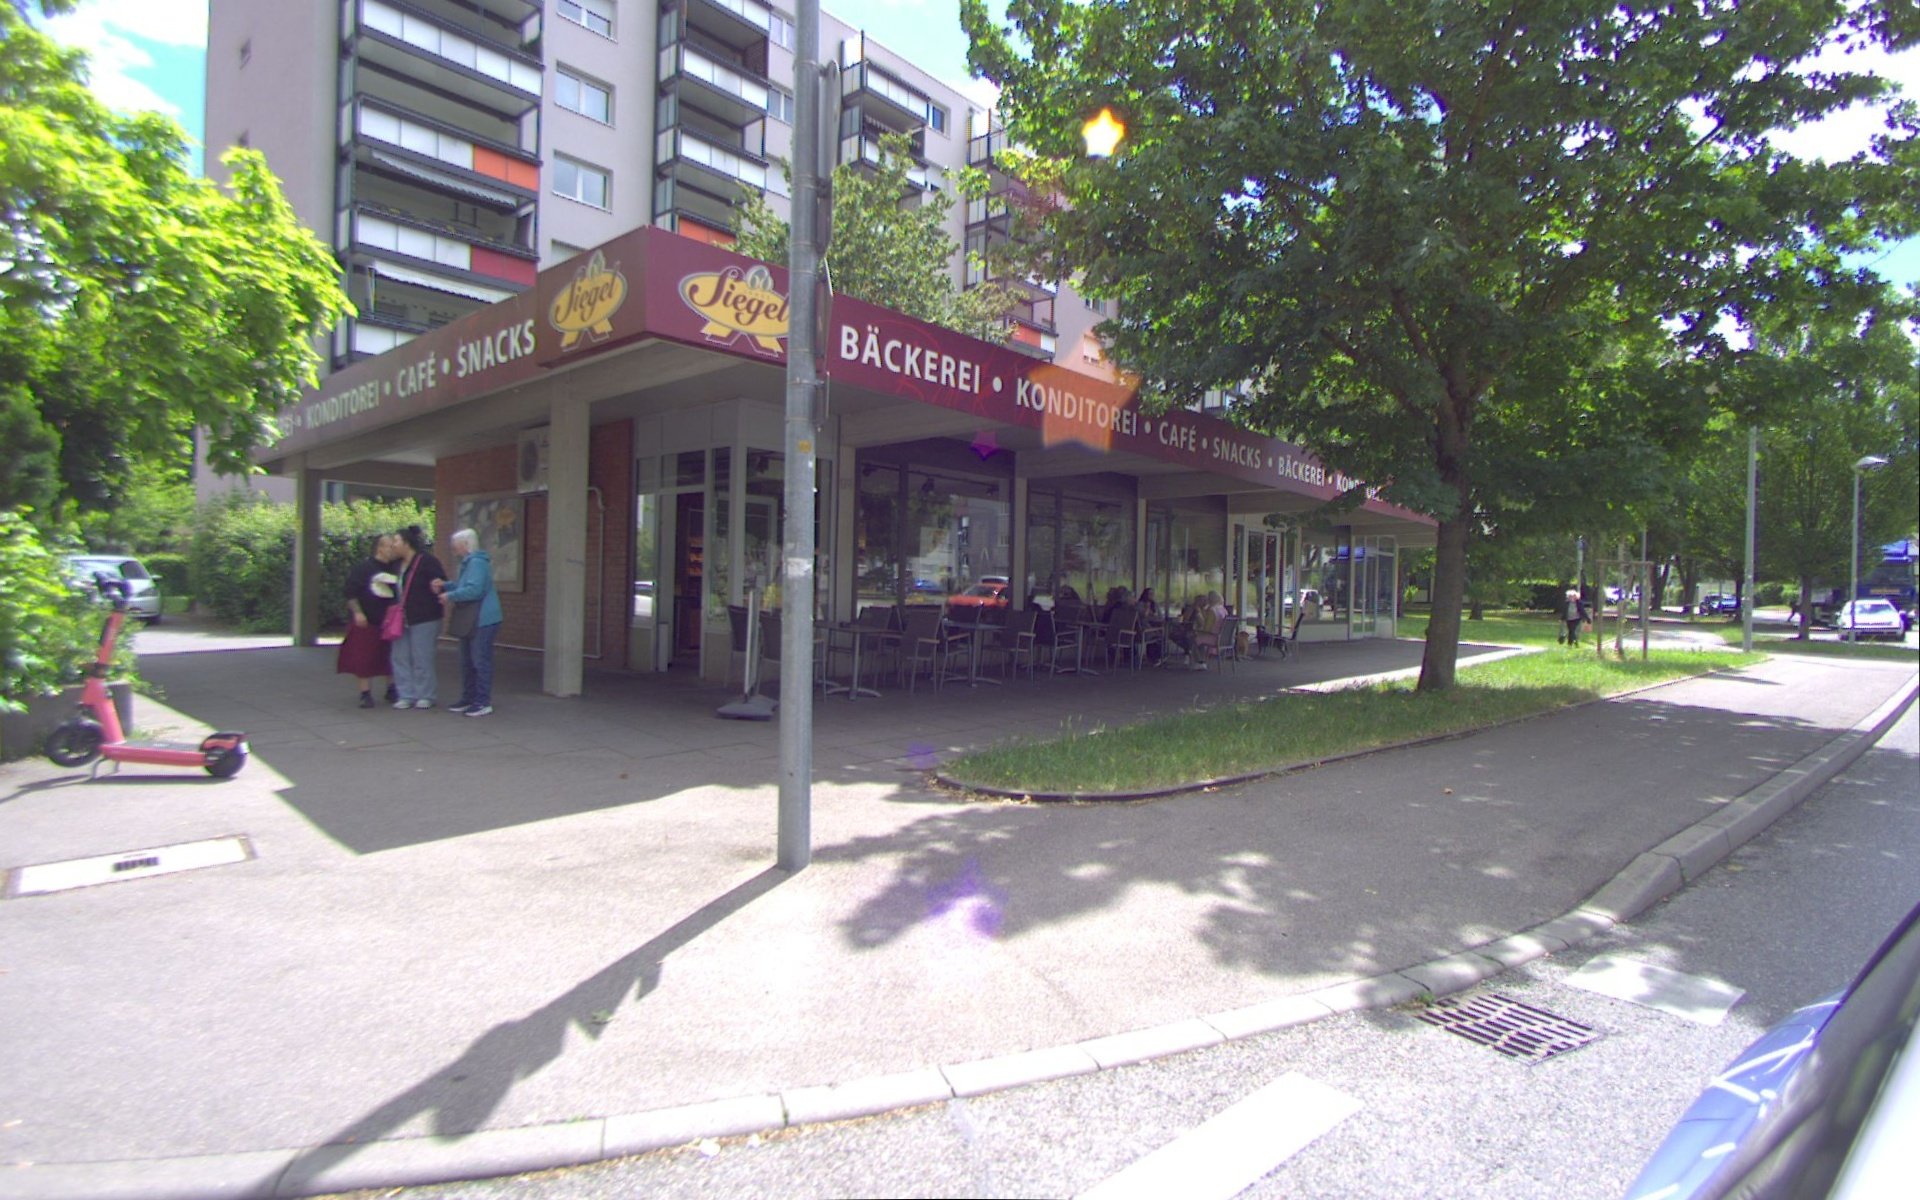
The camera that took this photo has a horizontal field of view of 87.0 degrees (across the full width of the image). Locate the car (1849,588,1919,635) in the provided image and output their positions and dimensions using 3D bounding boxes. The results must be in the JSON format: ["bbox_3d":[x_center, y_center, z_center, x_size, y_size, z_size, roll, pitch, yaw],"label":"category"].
[{"bbox_3d":[33.069,0.364,36.238,1.754,1.542,3.769,2,2,40],"label":"car"}]

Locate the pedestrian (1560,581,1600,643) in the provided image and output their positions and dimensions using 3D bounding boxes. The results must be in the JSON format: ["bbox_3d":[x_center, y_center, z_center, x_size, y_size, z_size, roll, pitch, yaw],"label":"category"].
[{"bbox_3d":[16.139,0.305,26.336,0.643,1.557,0.725,0,1,-44],"label":"pedestrian"}]

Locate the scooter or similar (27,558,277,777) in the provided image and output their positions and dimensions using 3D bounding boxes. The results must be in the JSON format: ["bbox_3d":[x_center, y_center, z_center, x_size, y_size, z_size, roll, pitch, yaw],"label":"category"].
[{"bbox_3d":[-5.060,0.410,6.374,1.206,1.324,0.378,1,1,-7],"label":"scooter or similar"}]

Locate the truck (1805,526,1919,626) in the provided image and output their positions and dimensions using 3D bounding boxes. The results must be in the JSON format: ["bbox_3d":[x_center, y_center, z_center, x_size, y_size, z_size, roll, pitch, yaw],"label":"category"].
[{"bbox_3d":[41.432,-1.083,46.253,2.609,4.144,9.507,2,1,30],"label":"truck"}]

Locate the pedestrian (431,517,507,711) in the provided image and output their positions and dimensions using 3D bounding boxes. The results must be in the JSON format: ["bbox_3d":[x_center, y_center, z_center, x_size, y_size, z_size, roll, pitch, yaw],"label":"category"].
[{"bbox_3d":[-4.293,0.113,8.855,0.436,1.652,0.399,1,1,9],"label":"pedestrian"}]

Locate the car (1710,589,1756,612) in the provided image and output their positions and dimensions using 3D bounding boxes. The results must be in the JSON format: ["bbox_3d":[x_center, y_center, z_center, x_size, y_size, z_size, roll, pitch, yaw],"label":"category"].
[{"bbox_3d":[50.002,0.035,65.541,1.793,1.371,3.959,2,2,29],"label":"car"}]

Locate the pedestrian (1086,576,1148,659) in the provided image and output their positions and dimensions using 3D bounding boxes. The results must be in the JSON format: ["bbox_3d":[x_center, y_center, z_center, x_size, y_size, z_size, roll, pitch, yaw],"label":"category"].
[{"bbox_3d":[2.547,0.275,16.374,0.675,1.282,0.664,5,2,43],"label":"pedestrian"}]

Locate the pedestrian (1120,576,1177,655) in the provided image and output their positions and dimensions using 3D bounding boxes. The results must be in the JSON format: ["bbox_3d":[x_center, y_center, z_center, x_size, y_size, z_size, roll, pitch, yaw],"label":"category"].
[{"bbox_3d":[3.239,0.247,17.421,0.671,1.282,0.668,4,4,41],"label":"pedestrian"}]

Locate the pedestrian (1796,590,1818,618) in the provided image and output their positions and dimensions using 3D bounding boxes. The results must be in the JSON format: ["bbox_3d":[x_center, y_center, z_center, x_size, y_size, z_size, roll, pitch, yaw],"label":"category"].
[{"bbox_3d":[46.176,0.213,55.158,0.904,1.442,0.691,0,1,-36],"label":"pedestrian"}]

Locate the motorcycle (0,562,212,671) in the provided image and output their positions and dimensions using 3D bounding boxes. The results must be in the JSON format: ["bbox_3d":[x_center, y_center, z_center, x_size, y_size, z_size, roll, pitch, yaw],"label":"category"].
[{"bbox_3d":[-10.390,0.158,12.421,0.726,1.210,2.137,1,1,4],"label":"motorcycle"}]

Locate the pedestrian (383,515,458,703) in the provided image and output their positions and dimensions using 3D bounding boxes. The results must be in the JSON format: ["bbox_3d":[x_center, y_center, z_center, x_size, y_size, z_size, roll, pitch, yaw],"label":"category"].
[{"bbox_3d":[-4.863,0.073,9.128,0.436,1.652,0.399,1,1,9],"label":"pedestrian"}]

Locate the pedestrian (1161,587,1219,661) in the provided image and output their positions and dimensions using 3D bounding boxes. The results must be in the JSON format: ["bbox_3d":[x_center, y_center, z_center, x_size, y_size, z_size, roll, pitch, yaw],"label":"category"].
[{"bbox_3d":[3.834,0.381,16.888,0.671,1.165,0.668,4,4,41],"label":"pedestrian"}]

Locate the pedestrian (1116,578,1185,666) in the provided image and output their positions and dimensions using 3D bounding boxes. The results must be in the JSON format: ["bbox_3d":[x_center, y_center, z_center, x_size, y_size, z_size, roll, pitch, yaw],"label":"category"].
[{"bbox_3d":[2.967,0.337,15.724,0.671,1.282,0.814,4,1,40],"label":"pedestrian"}]

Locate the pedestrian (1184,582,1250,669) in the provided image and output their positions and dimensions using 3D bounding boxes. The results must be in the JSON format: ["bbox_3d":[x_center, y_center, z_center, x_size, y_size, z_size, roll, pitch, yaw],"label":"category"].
[{"bbox_3d":[3.999,0.374,15.780,0.661,1.282,0.678,0,3,-36],"label":"pedestrian"}]

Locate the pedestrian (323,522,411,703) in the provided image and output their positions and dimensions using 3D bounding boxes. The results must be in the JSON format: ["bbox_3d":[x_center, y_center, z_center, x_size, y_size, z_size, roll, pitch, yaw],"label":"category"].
[{"bbox_3d":[-5.321,0.107,9.105,0.522,1.571,0.512,1,1,-9],"label":"pedestrian"}]

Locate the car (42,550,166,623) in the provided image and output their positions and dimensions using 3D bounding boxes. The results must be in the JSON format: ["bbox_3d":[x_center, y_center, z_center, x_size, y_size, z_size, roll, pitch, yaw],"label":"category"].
[{"bbox_3d":[-18.789,-0.319,22.180,3.478,1.456,1.722,2,1,44],"label":"car"}]
